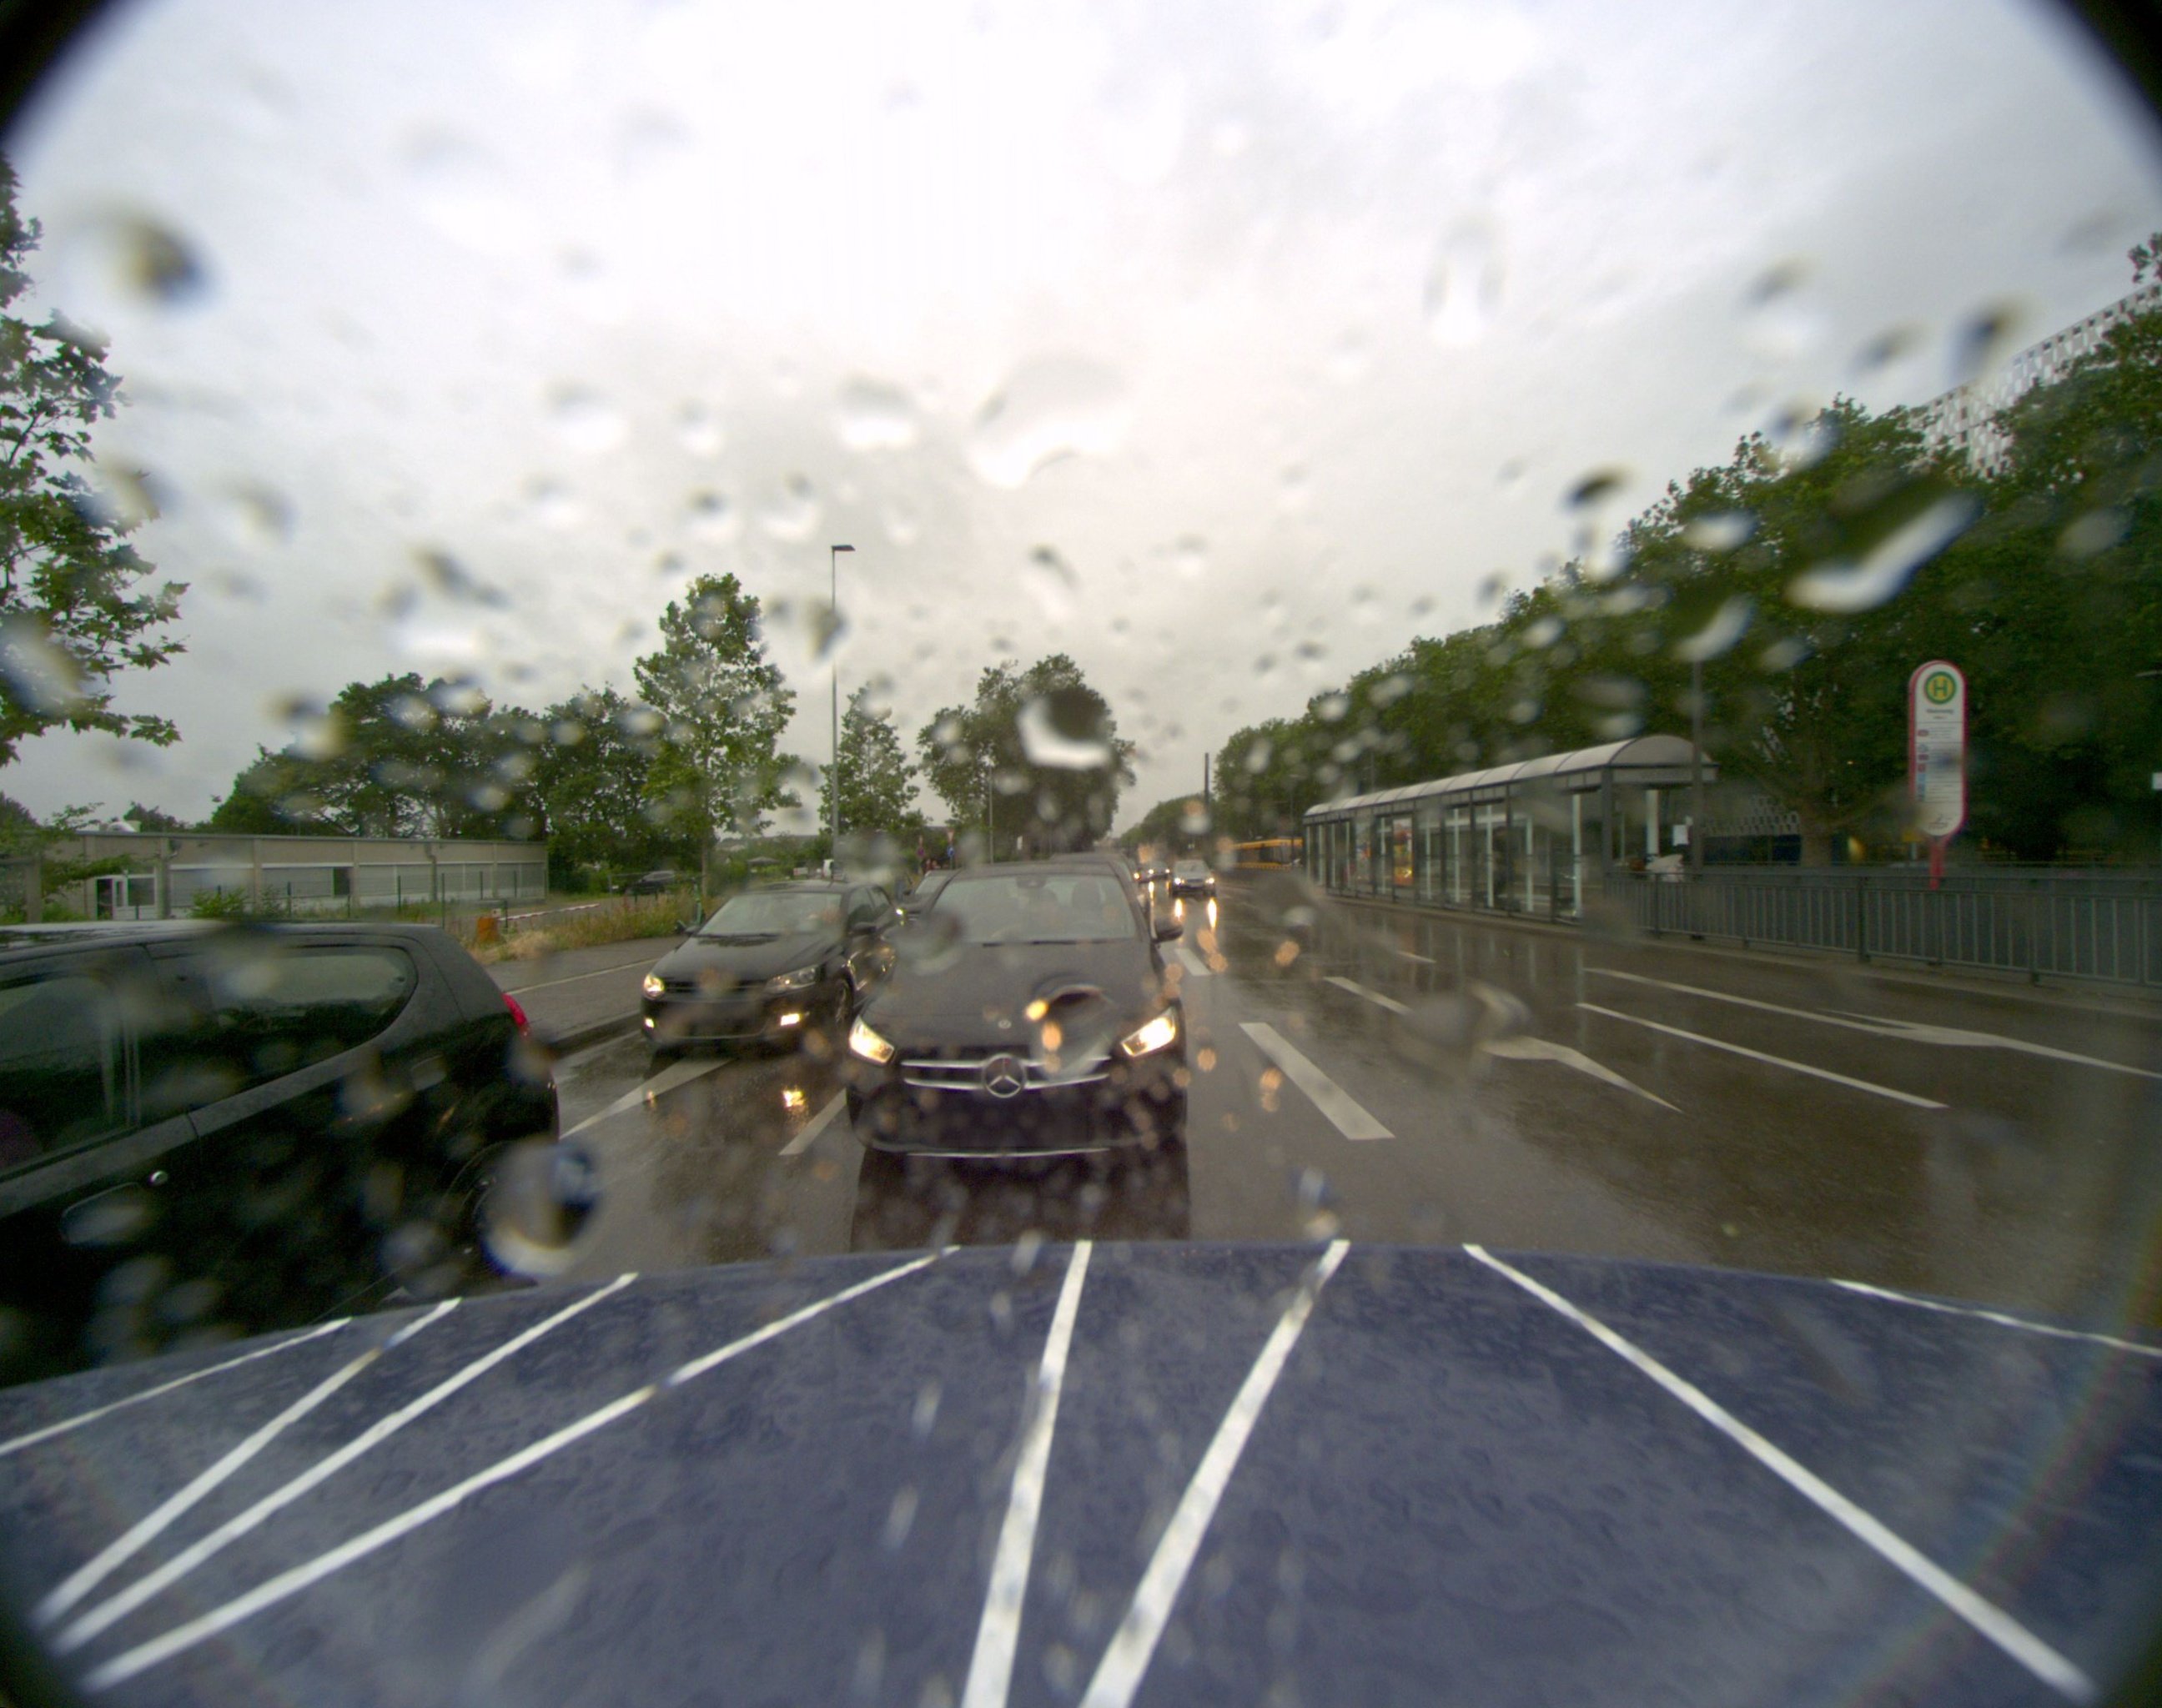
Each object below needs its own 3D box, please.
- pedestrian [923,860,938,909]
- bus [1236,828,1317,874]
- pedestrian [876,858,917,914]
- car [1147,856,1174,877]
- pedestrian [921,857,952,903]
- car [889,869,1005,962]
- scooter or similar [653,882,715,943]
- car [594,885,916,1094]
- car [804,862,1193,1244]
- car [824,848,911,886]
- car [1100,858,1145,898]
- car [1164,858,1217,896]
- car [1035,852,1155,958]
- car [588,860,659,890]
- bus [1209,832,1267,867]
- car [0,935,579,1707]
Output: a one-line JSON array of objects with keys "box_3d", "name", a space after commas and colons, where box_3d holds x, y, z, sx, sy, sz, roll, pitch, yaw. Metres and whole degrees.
[{"box_3d": [-5.127, 1.023, 25.898, 0.401, 1.652, 0.441, 1, 1, 0], "name": "pedestrian"}, {"box_3d": [16.276, -0.320, 64.837, 2.938, 3.310, 15.060, -2, 1, 0], "name": "bus"}, {"box_3d": [-5.839, 0.994, 24.086, 1.082, 1.746, 0.969, 0, 1, 0], "name": "pedestrian"}, {"box_3d": [6.422, 0.981, 61.817, 1.775, 1.492, 4.597, -2, 1, 2], "name": "car"}, {"box_3d": [-5.566, 0.989, 29.298, 1.025, 1.698, 0.891, 1, 1, 0], "name": "pedestrian"}, {"box_3d": [-2.719, 1.199, 16.249, 1.698, 1.565, 3.813, -2, 1, 1], "name": "car"}, {"box_3d": [-8.219, 1.185, 15.812, 0.381, 1.123, 1.777, 0, 1, -1], "name": "scooter or similar"}, {"box_3d": [-2.899, 1.114, 7.655, 1.633, 1.420, 3.624, -2, 0, 0], "name": "car"}, {"box_3d": [-0.343, 0.922, 5.501, 1.690, 1.578, 4.163, -2, 1, 1], "name": "car"}, {"box_3d": [-13.436, 0.836, 48.002, 4.759, 1.639, 2.000, -8, -1, -2], "name": "car"}, {"box_3d": [1.859, 1.043, 35.035, 1.794, 1.597, 3.999, -2, 1, 0], "name": "car"}, {"box_3d": [4.641, 0.919, 32.770, 1.766, 1.390, 4.645, -2, 0, 2], "name": "car"}, {"box_3d": [0.195, 0.726, 12.501, 1.633, 1.420, 3.624, -2, 0, 0], "name": "car"}, {"box_3d": [-33.972, 1.514, 56.524, 3.996, 2.002, 2.000, -2, 1, 2], "name": "car"}, {"box_3d": [16.285, -0.517, 79.998, 2.938, 3.310, 15.061, -2, 1, 0], "name": "bus"}, {"box_3d": [-3.001, 1.083, 1.451, 1.633, 1.420, 3.624, -2, 0, 0], "name": "car"}]
